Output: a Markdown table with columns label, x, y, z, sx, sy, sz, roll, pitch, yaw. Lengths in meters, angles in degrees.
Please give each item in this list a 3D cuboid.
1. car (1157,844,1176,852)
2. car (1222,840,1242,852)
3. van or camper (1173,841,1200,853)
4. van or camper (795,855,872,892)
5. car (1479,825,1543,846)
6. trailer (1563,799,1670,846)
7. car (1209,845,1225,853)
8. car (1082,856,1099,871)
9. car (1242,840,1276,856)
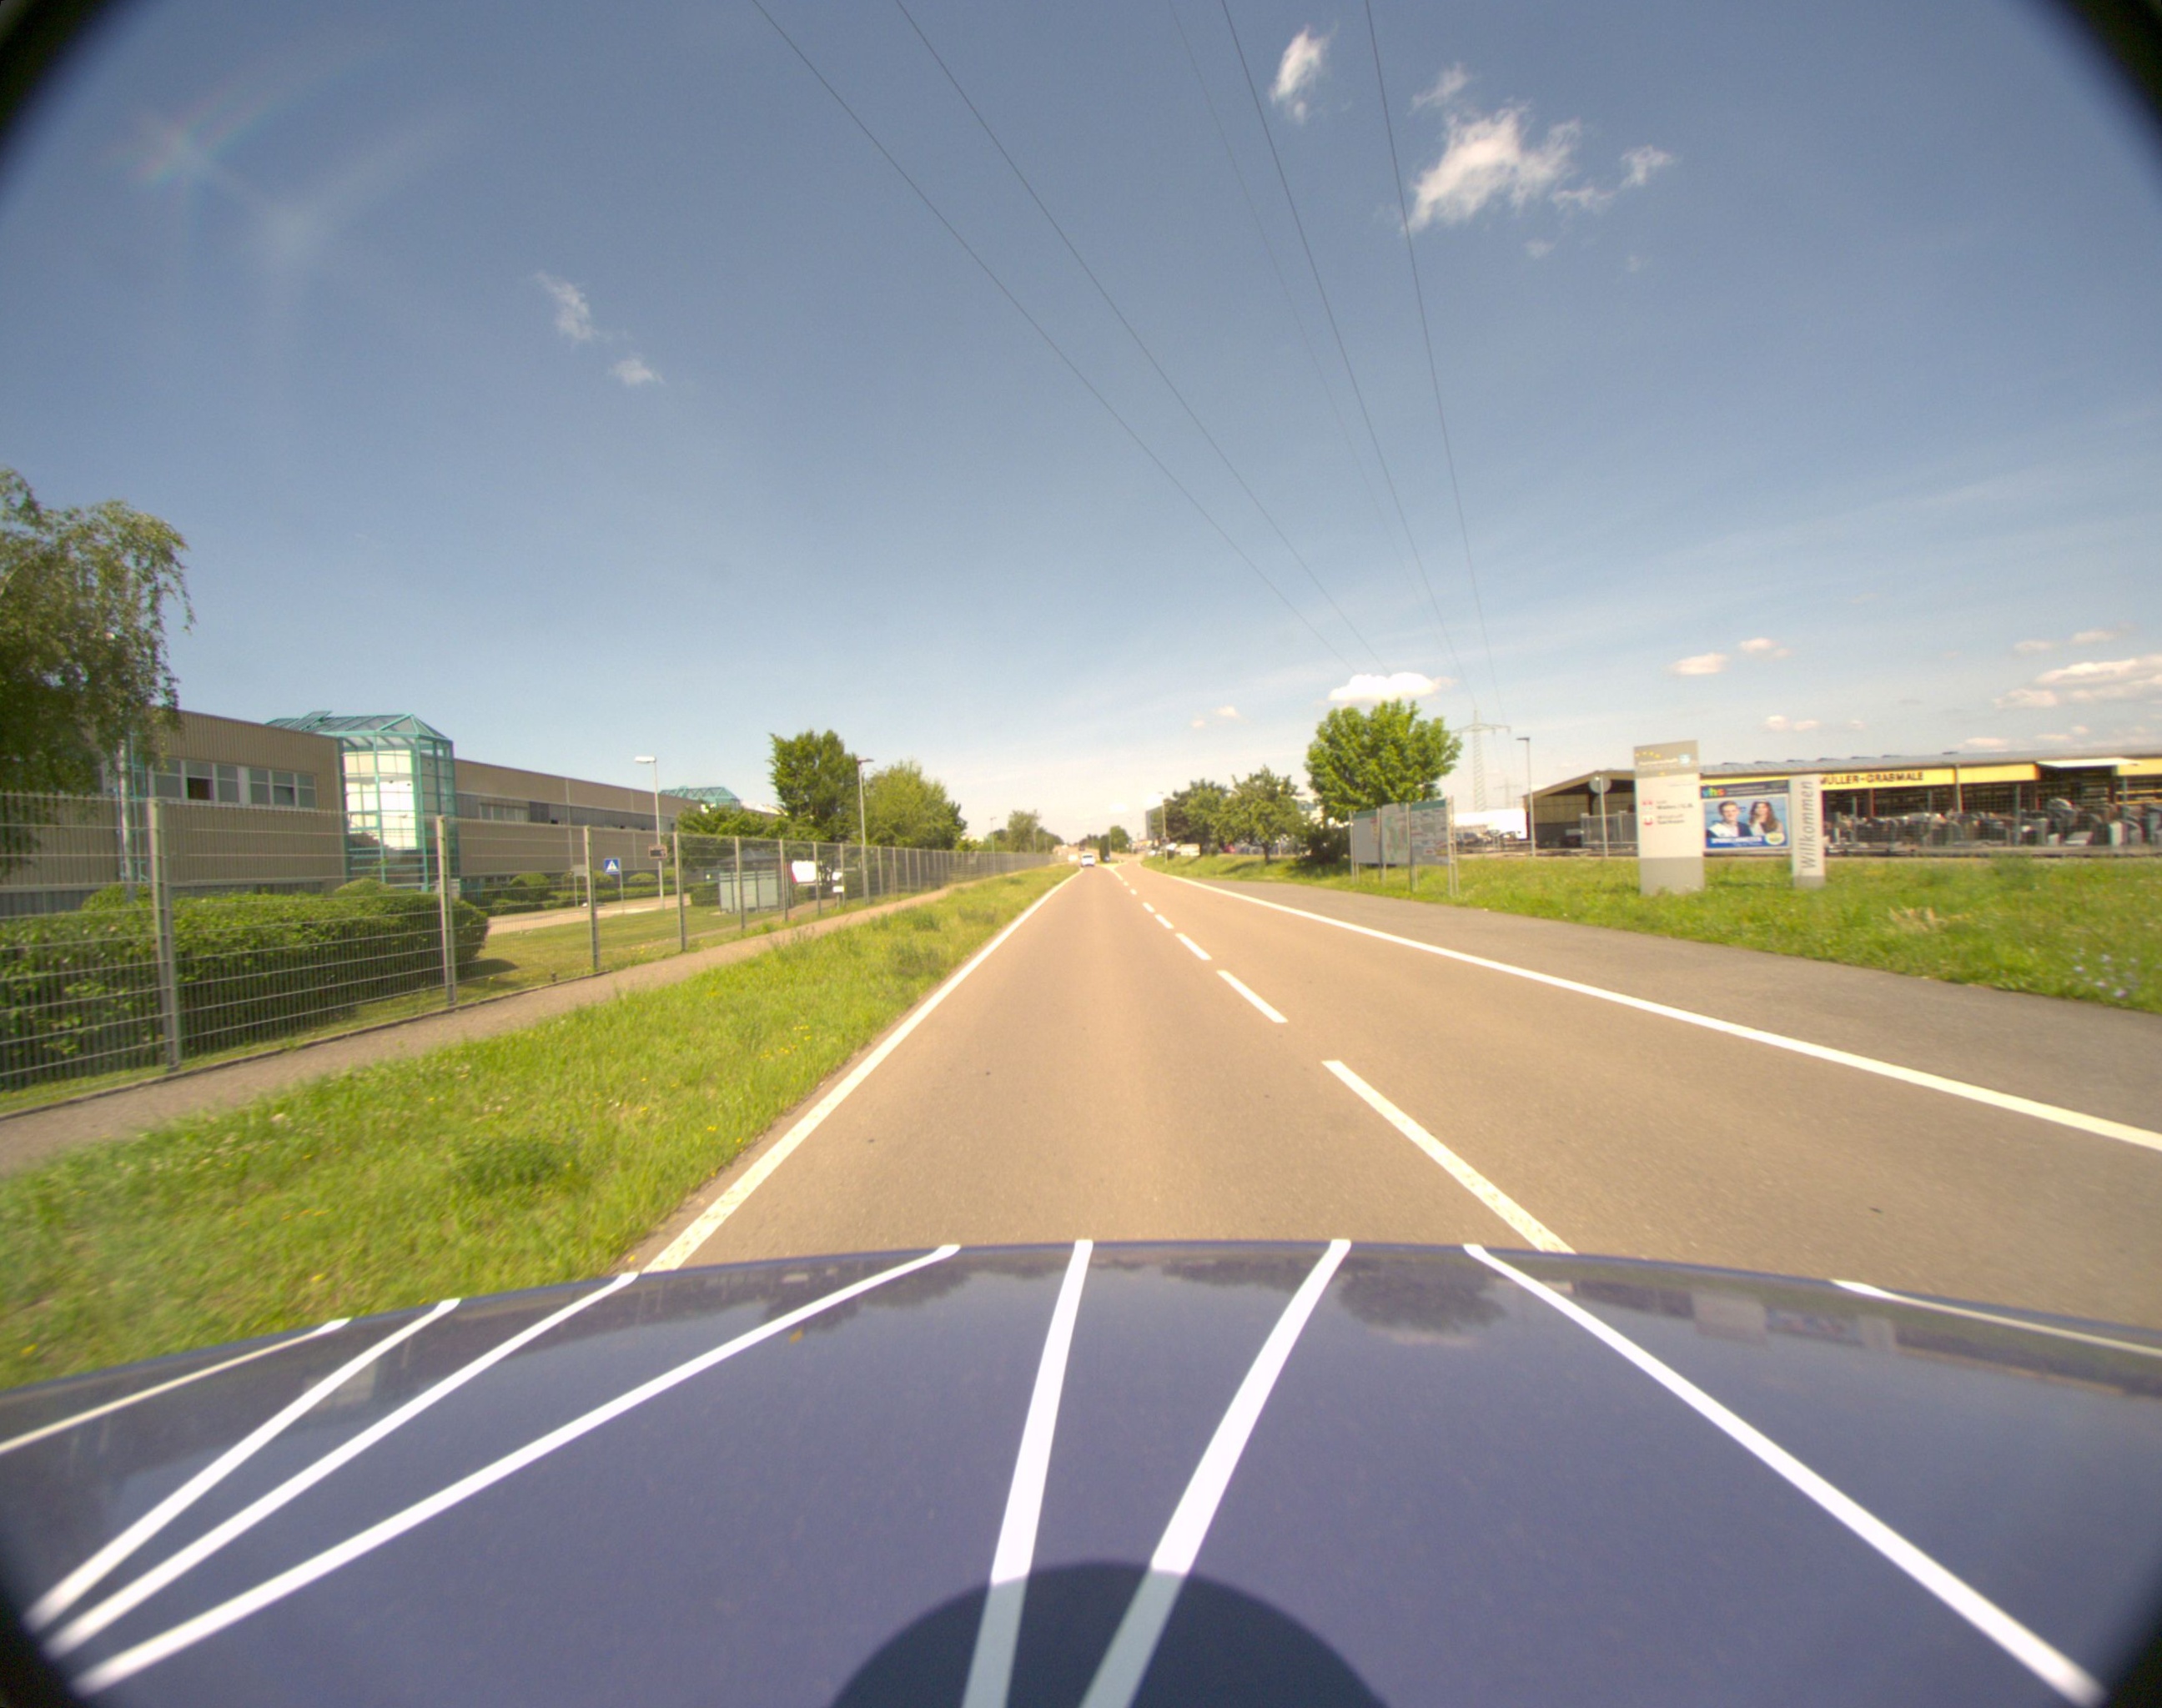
| label | x | y | z | sx | sy | sz | roll | pitch | yaw |
| --- | --- | --- | --- | --- | --- | --- | --- | --- | --- |
| car | 18.788 | -1.383 | 167.409 | 3.996 | 1.510 | 2.000 | -3 | 1 | 3 |
| car | 24.552 | -1.301 | 123.965 | 1.999 | 1.734 | 4.227 | -3 | 1 | -5 |
| van or camper | 24.669 | -1.738 | 177.789 | 5.575 | 2.483 | 2.081 | -3 | 1 | 24 |
| van or camper | -21.376 | 1.654 | 65.797 | 5.788 | 2.504 | 1.999 | -6 | 1 | -5 |
| car | 36.623 | -1.561 | 64.847 | 2.003 | 1.477 | 4.239 | -4 | 0 | -30 |
| trailer | 37.010 | -2.139 | 52.612 | 5.578 | 2.809 | 2.739 | -4 | 1 | -6 |
| car | 24.671 | -0.903 | 137.570 | 1.999 | 1.400 | 4.516 | -4 | 0 | 0 |
| car | 1.327 | 1.260 | 106.135 | 1.998 | 1.904 | 4.000 | -3 | 1 | 4 |
| car | 22.280 | -0.766 | 95.130 | 4.115 | 1.695 | 1.719 | -4 | 1 | -32 |
